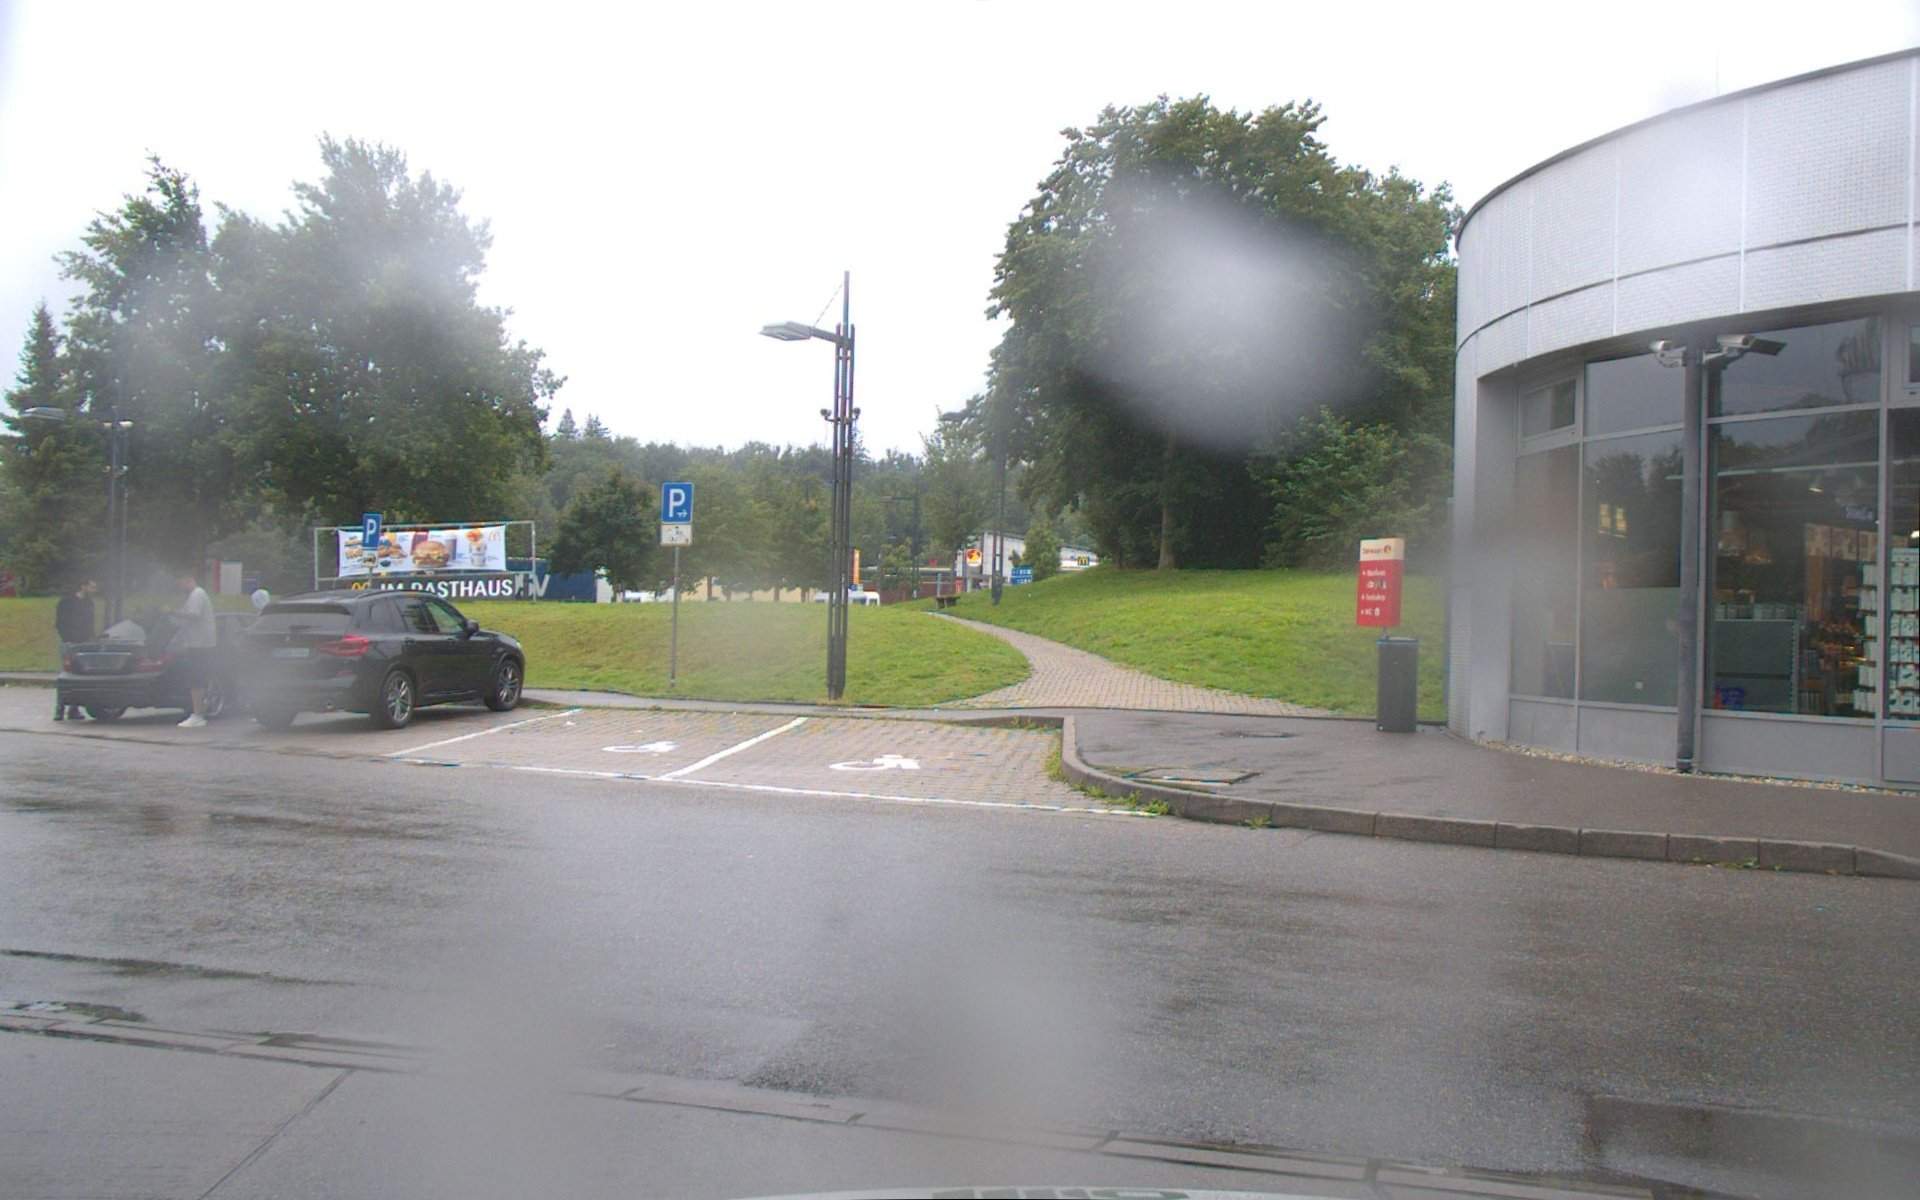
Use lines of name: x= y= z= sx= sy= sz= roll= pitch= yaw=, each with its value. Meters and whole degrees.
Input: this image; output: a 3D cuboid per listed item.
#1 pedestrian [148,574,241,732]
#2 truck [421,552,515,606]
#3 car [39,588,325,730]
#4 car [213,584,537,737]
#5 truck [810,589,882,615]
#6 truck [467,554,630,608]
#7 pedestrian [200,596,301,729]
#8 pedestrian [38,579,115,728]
pedestrian: x=-9.581 y=0.641 z=20.708 sx=0.936 sy=1.920 sz=0.700 roll=0 pitch=-1 yaw=40
truck: x=-27.982 y=-1.167 z=94.246 sx=2.142 sy=2.971 sz=5.384 roll=1 pitch=0 yaw=24
car: x=-10.574 y=0.718 z=22.881 sx=1.976 sy=1.741 sz=4.342 roll=-1 pitch=1 yaw=-2
car: x=-7.366 y=0.692 z=21.363 sx=1.973 sy=1.741 sz=4.347 roll=-1 pitch=1 yaw=11
truck: x=-9.235 y=0.147 z=133.659 sx=5.298 sy=2.049 sz=2.366 roll=1 pitch=0 yaw=24
truck: x=-24.931 y=-1.083 z=101.261 sx=2.142 sy=2.971 sz=13.092 roll=1 pitch=0 yaw=23
pedestrian: x=-9.127 y=0.785 z=21.296 sx=0.688 sy=1.660 sz=0.953 roll=1 pitch=-1 yaw=28
pedestrian: x=-11.757 y=0.694 z=22.008 sx=0.698 sy=1.920 sz=0.880 roll=1 pitch=-1 yaw=-42
